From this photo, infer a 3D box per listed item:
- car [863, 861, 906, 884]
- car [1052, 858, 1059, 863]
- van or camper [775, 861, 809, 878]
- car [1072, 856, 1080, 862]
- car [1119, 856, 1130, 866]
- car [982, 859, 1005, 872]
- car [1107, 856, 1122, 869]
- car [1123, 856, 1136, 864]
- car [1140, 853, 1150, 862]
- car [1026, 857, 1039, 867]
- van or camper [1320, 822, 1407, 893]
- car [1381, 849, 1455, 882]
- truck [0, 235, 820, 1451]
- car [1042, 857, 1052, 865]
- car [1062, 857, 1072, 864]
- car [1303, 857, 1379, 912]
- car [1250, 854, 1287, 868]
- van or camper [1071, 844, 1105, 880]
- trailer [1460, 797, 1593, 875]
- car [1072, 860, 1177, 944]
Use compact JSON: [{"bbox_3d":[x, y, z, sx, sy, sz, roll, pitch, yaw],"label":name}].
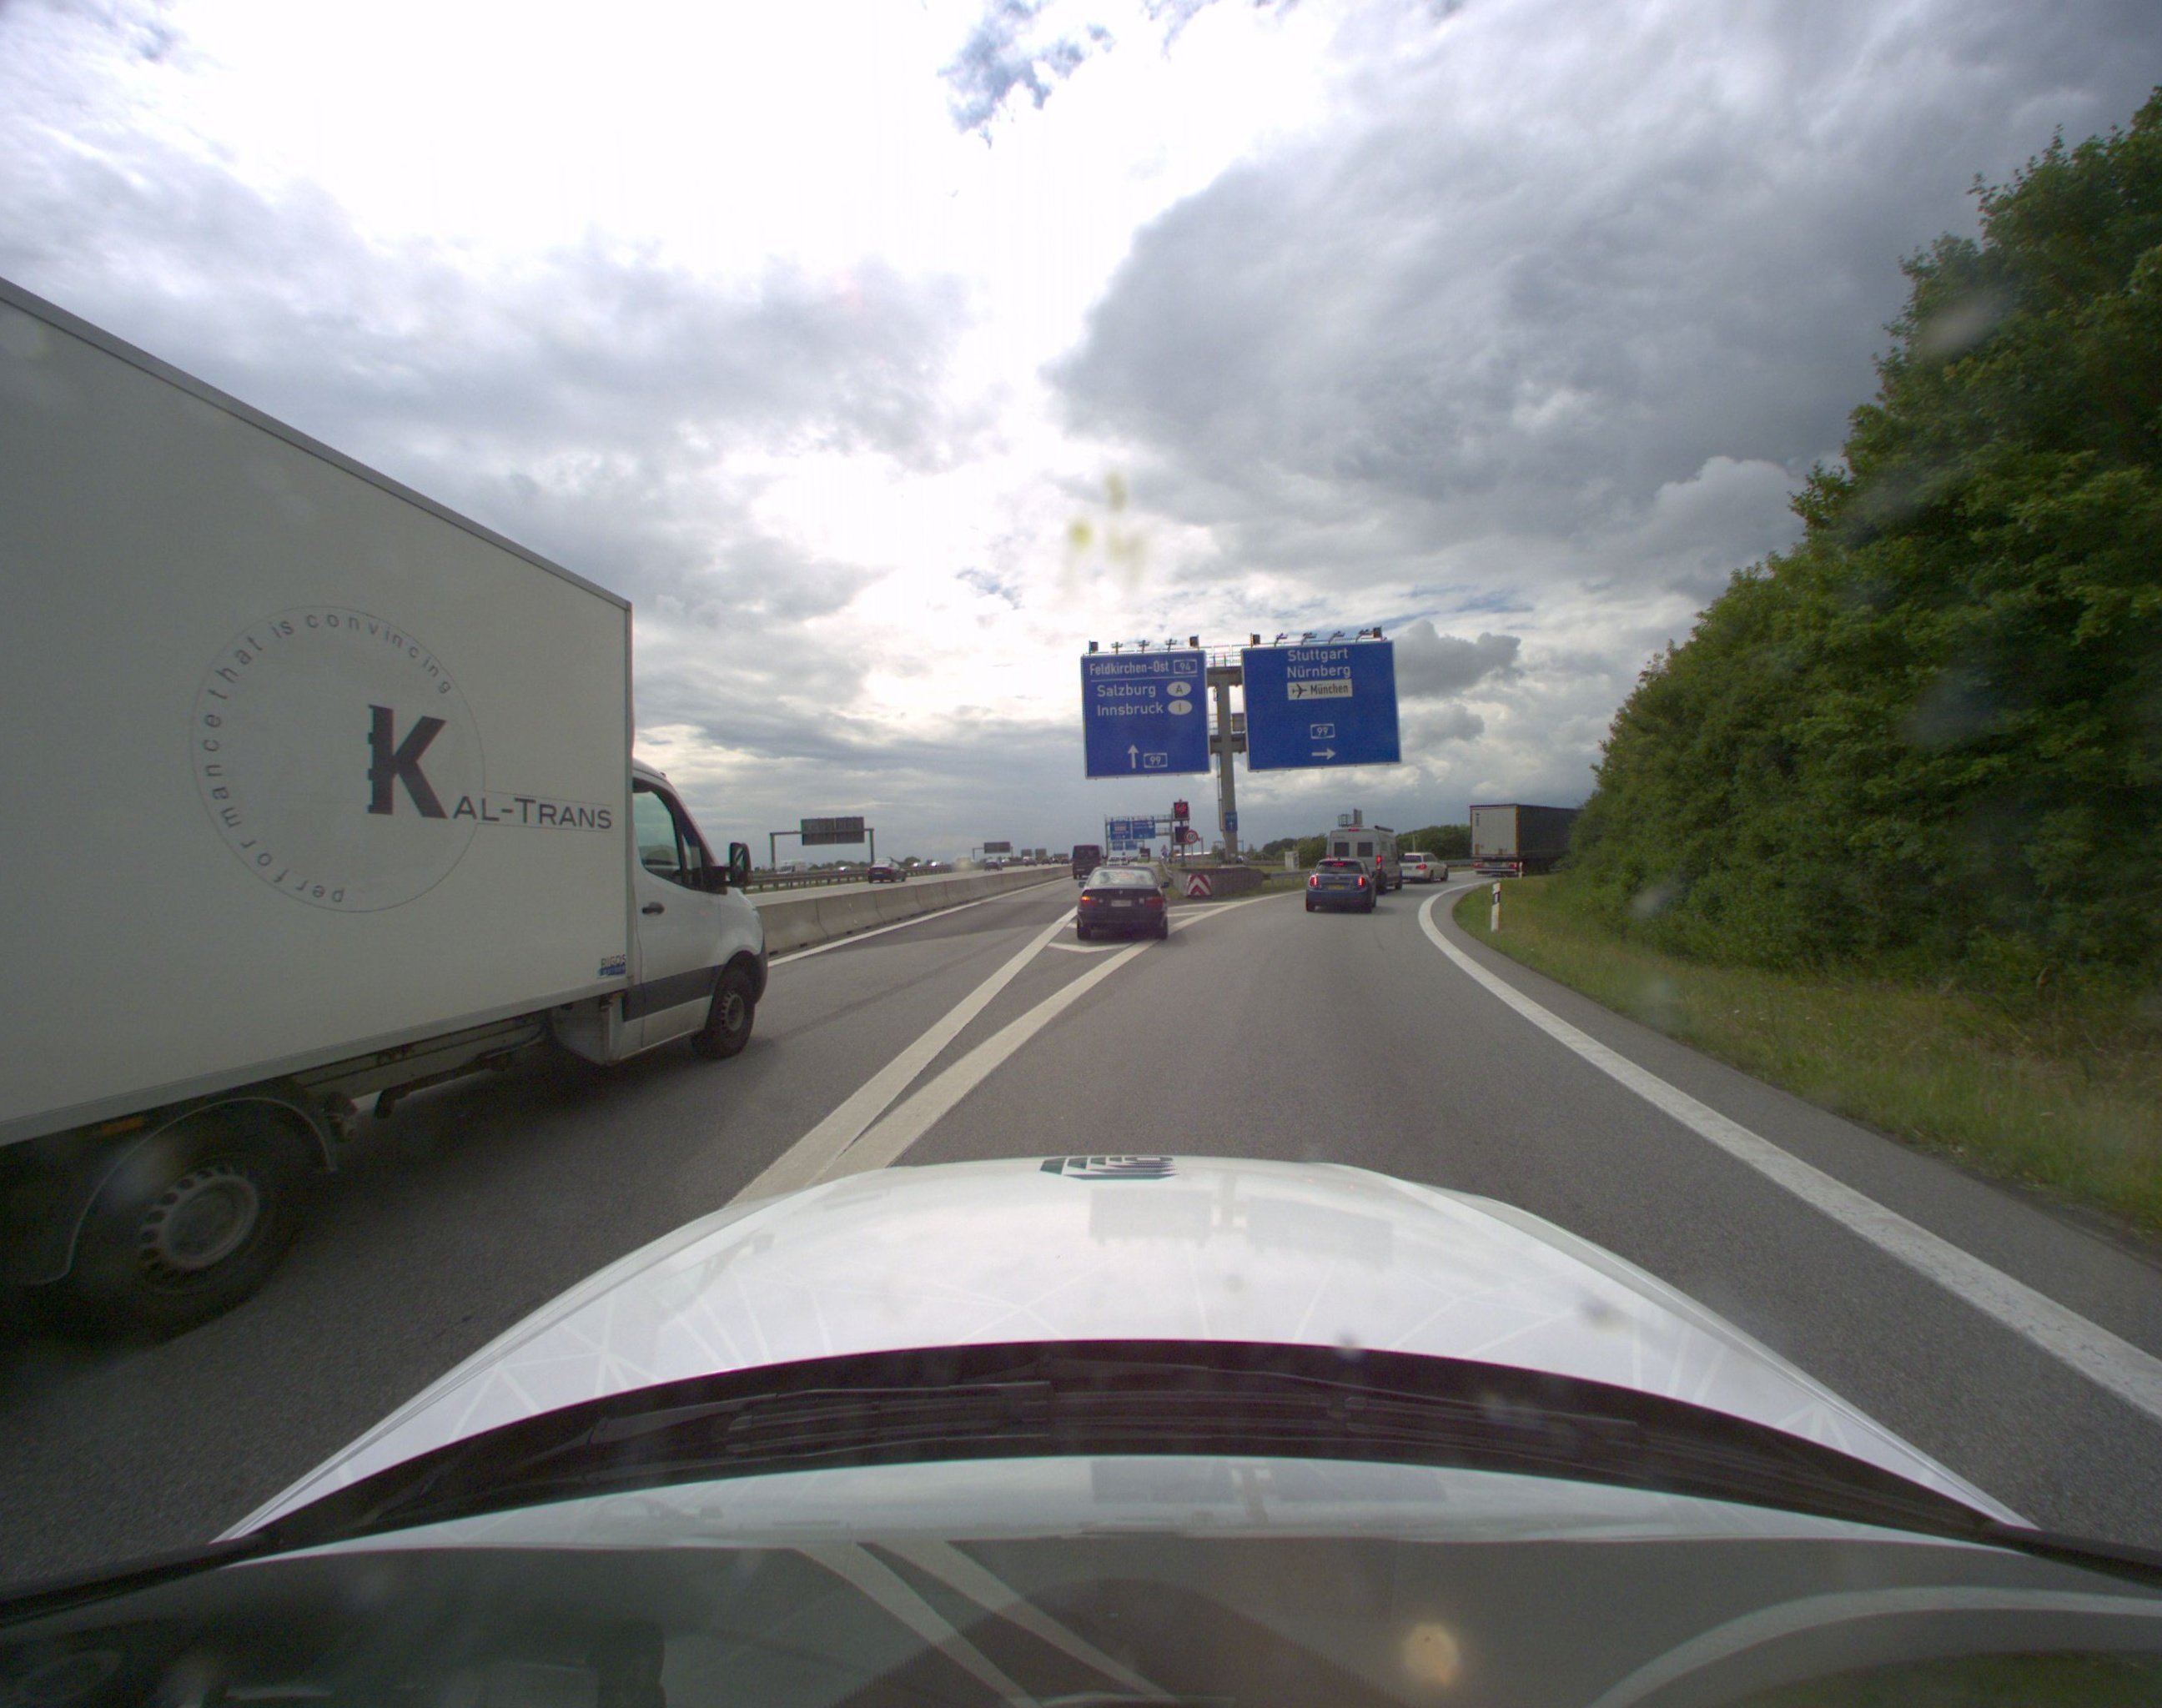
[{"bbox_3d":[-13.425,1.247,55.908,1.765,1.450,4.386,-1,0,2],"label":"car"},{"bbox_3d":[-6.614,1.756,213.819,1.546,1.376,4.002,-1,0,2],"label":"car"},{"bbox_3d":[-37.380,1.969,105.495,2.228,2.013,6.277,-1,0,0],"label":"van or camper"},{"bbox_3d":[-1.523,1.559,234.490,1.985,1.683,4.871,-1,0,3],"label":"car"},{"bbox_3d":[6.508,1.089,122.453,1.578,1.484,3.539,-2,0,4],"label":"car"},{"bbox_3d":[-10.612,1.416,99.035,2.051,1.527,4.570,-1,0,2],"label":"car"},{"bbox_3d":[3.951,1.007,96.968,1.694,1.508,3.842,-1,0,2],"label":"car"},{"bbox_3d":[8.865,1.121,148.524,1.983,1.468,4.008,-2,0,7],"label":"car"},{"bbox_3d":[13.879,0.756,177.843,1.986,2.013,4.002,-1,0,2],"label":"car"},{"bbox_3d":[-8.790,1.443,148.175,1.893,1.640,4.648,-1,0,3],"label":"car"},{"bbox_3d":[11.443,0.131,32.649,2.272,2.568,6.198,-2,0,28],"label":"van or camper"},{"bbox_3d":[16.847,0.571,40.587,2.184,1.501,4.818,-2,-1,38],"label":"car"},{"bbox_3d":[-3.802,-0.015,4.319,2.394,3.090,6.376,-1,0,3],"label":"truck"},{"bbox_3d":[-7.476,1.492,180.520,1.893,1.638,4.236,-1,0,3],"label":"car"},{"bbox_3d":[-3.073,1.423,177.502,1.767,1.530,4.003,-2,0,3],"label":"car"},{"bbox_3d":[7.403,0.797,22.985,1.714,1.419,3.685,-1,-1,22],"label":"car"},{"bbox_3d":[23.759,0.884,103.157,2.010,1.772,4.197,-1,0,-39],"label":"car"},{"bbox_3d":[0.565,0.531,56.899,1.991,2.370,6.132,-1,0,3],"label":"van or camper"},{"bbox_3d":[27.371,-1.004,49.526,13.106,4.193,3.300,-1,0,-44],"label":"trailer"},{"bbox_3d":[0.890,0.852,16.123,1.774,1.378,4.141,-2,0,4],"label":"car"}]
